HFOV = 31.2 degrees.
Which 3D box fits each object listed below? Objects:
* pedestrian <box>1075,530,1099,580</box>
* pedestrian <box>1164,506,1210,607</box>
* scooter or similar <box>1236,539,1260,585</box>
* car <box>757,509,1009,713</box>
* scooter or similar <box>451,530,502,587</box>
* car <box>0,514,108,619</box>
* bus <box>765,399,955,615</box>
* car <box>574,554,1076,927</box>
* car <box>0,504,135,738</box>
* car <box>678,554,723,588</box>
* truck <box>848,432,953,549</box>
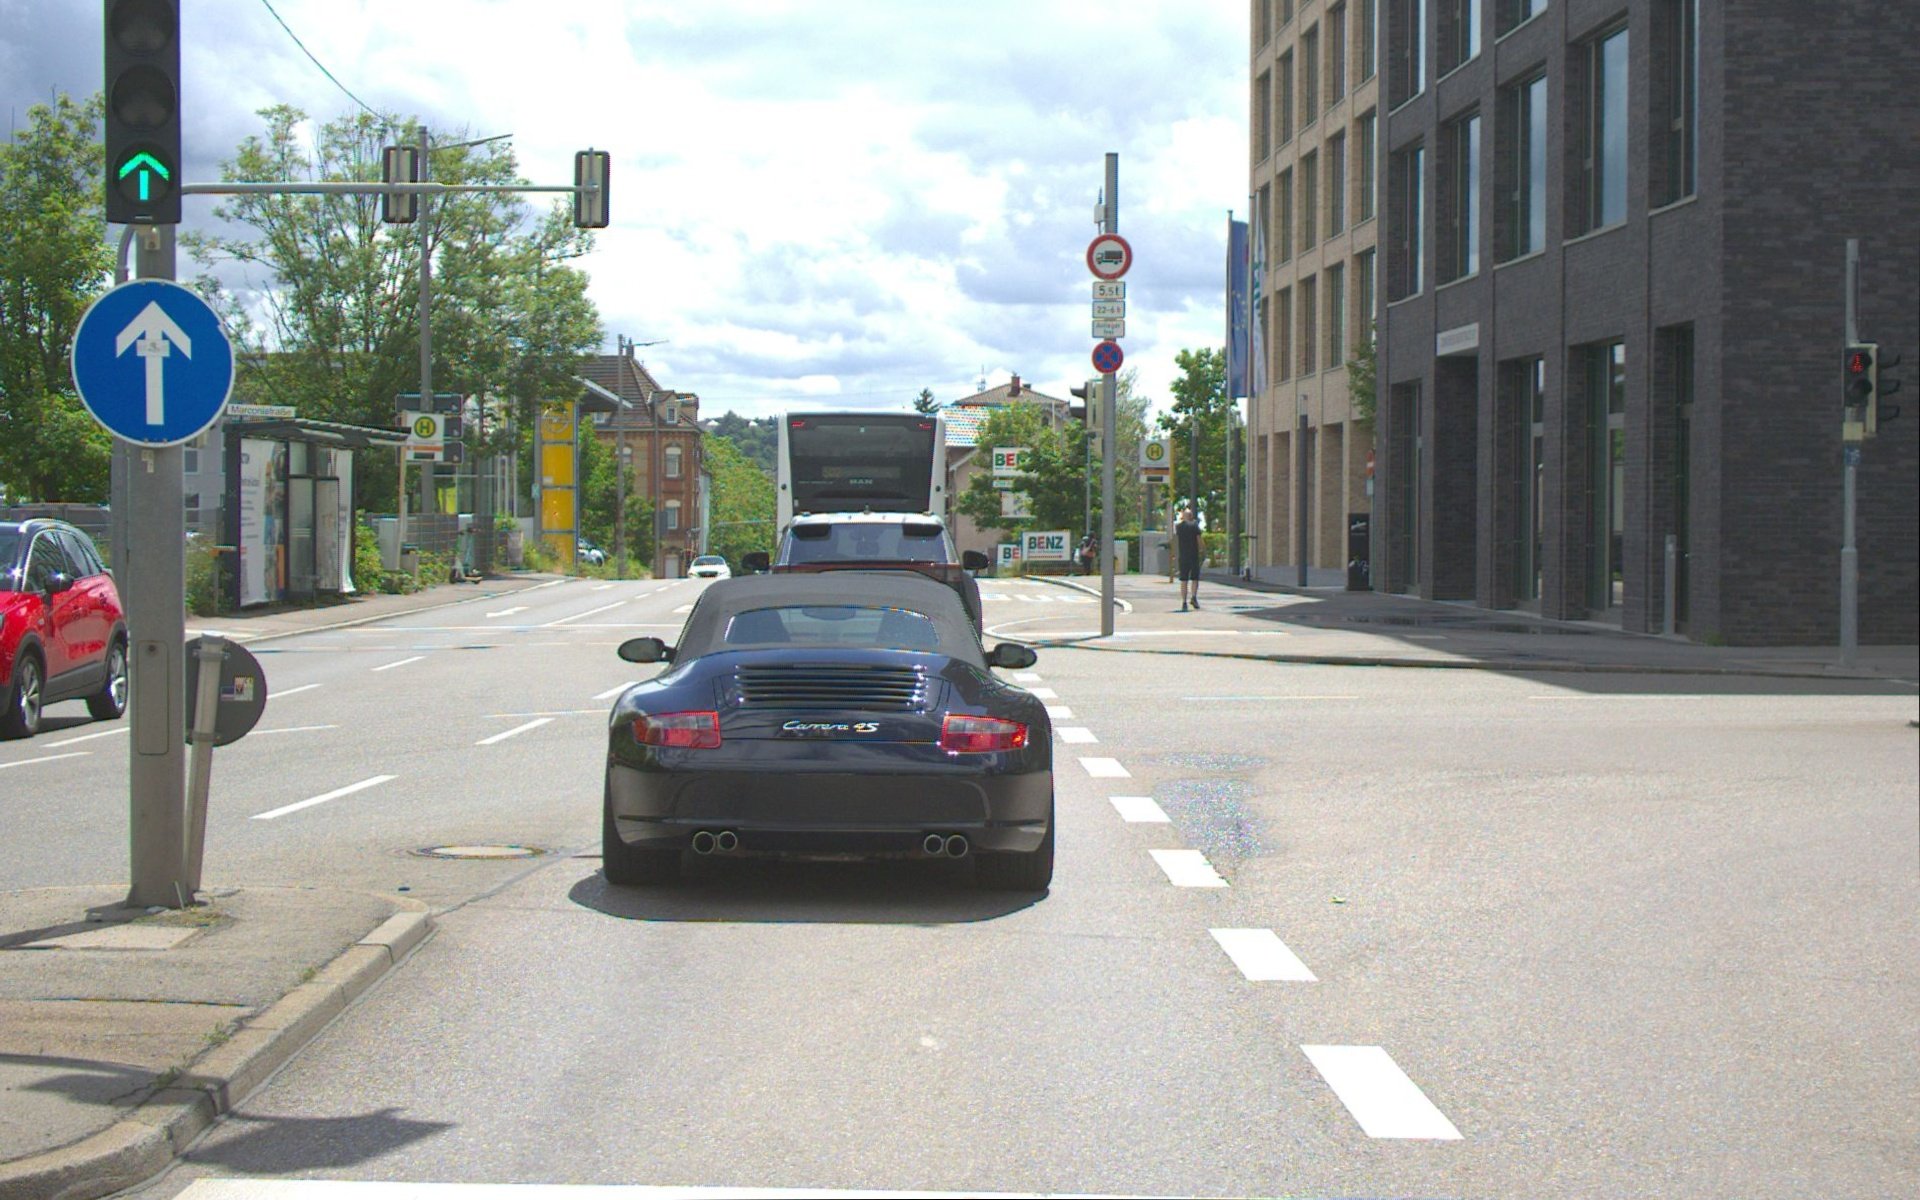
[{"bbox_3d":[3.957,-1.402,107.209,0.687,1.531,0.856,0,0,-2],"label":"pedestrian"},{"bbox_3d":[3.917,-0.761,59.369,0.683,1.722,0.962,1,1,-2],"label":"pedestrian"},{"bbox_3d":[7.321,-0.959,87.426,0.427,1.149,1.404,0,1,-2],"label":"scooter or similar"},{"bbox_3d":[-0.726,0.044,28.978,1.930,1.577,4.209,0,1,-4],"label":"car"},{"bbox_3d":[-10.807,-0.925,76.887,0.535,1.258,1.470,2,1,16],"label":"scooter or similar"},{"bbox_3d":[-14.137,-0.477,47.288,4.310,1.414,2.025,0,1,0],"label":"car"},{"bbox_3d":[-1.512,-1.542,57.192,2.802,3.187,12.196,1,1,0],"label":"bus"},{"bbox_3d":[-0.547,0.516,15.387,1.930,1.372,4.208,0,1,-1],"label":"car"},{"bbox_3d":[-7.559,0.119,25.383,1.930,1.593,4.153,-2,1,-1],"label":"car"},{"bbox_3d":[-11.162,-1.256,147.988,1.796,1.372,4.225,-1,2,-3],"label":"car"},{"bbox_3d":[-1.682,-2.951,93.545,2.713,3.044,7.714,0,1,-2],"label":"truck"}]
